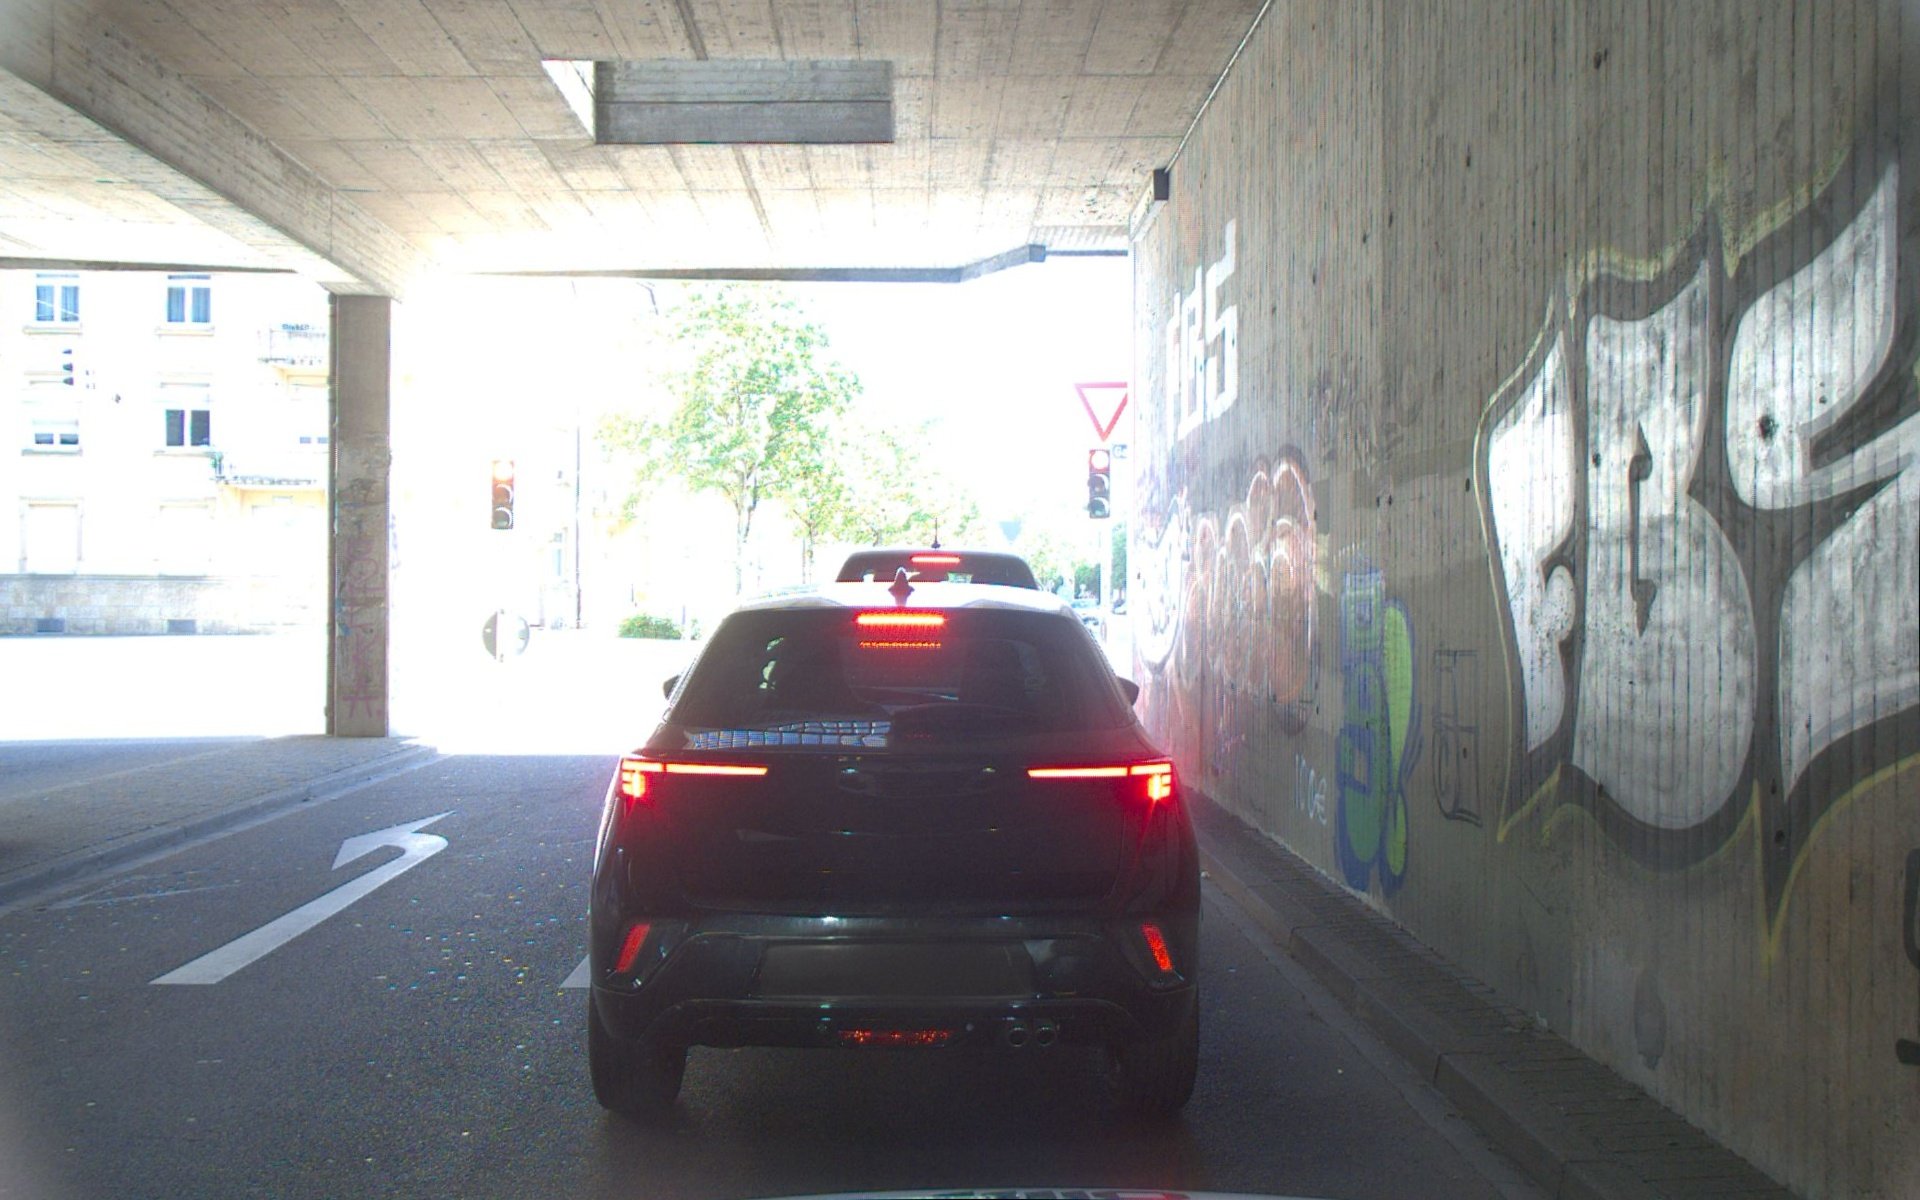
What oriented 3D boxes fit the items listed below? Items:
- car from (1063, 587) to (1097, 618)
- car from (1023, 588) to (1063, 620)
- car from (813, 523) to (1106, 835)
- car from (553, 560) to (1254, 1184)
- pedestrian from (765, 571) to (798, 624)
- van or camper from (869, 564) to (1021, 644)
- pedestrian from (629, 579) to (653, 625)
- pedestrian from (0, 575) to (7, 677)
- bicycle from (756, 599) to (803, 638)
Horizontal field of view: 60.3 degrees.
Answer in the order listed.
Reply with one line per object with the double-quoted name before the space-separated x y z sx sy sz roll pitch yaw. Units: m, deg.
"car" 6.789 0.129 93.164 1.550 1.668 3.809 0 0 9
"car" 3.930 0.185 78.075 1.564 1.477 3.798 0 0 8
"car" -0.023 0.471 12.009 1.749 1.865 3.960 1 0 -1
"car" -0.153 0.668 6.113 1.718 1.525 4.000 1 0 -1
"pedestrian" -5.542 -0.085 51.311 0.720 1.612 0.891 1 -1 15
"van or camper" -0.358 0.089 43.536 3.795 2.049 2.002 0 0 7
"pedestrian" -12.328 0.083 63.905 0.609 1.734 0.724 1 -1 13
"pedestrian" -17.316 0.451 28.474 1.088 1.767 1.143 0 0 12
"bicycle" -5.568 0.561 51.226 0.721 1.150 2.027 0 0 16
